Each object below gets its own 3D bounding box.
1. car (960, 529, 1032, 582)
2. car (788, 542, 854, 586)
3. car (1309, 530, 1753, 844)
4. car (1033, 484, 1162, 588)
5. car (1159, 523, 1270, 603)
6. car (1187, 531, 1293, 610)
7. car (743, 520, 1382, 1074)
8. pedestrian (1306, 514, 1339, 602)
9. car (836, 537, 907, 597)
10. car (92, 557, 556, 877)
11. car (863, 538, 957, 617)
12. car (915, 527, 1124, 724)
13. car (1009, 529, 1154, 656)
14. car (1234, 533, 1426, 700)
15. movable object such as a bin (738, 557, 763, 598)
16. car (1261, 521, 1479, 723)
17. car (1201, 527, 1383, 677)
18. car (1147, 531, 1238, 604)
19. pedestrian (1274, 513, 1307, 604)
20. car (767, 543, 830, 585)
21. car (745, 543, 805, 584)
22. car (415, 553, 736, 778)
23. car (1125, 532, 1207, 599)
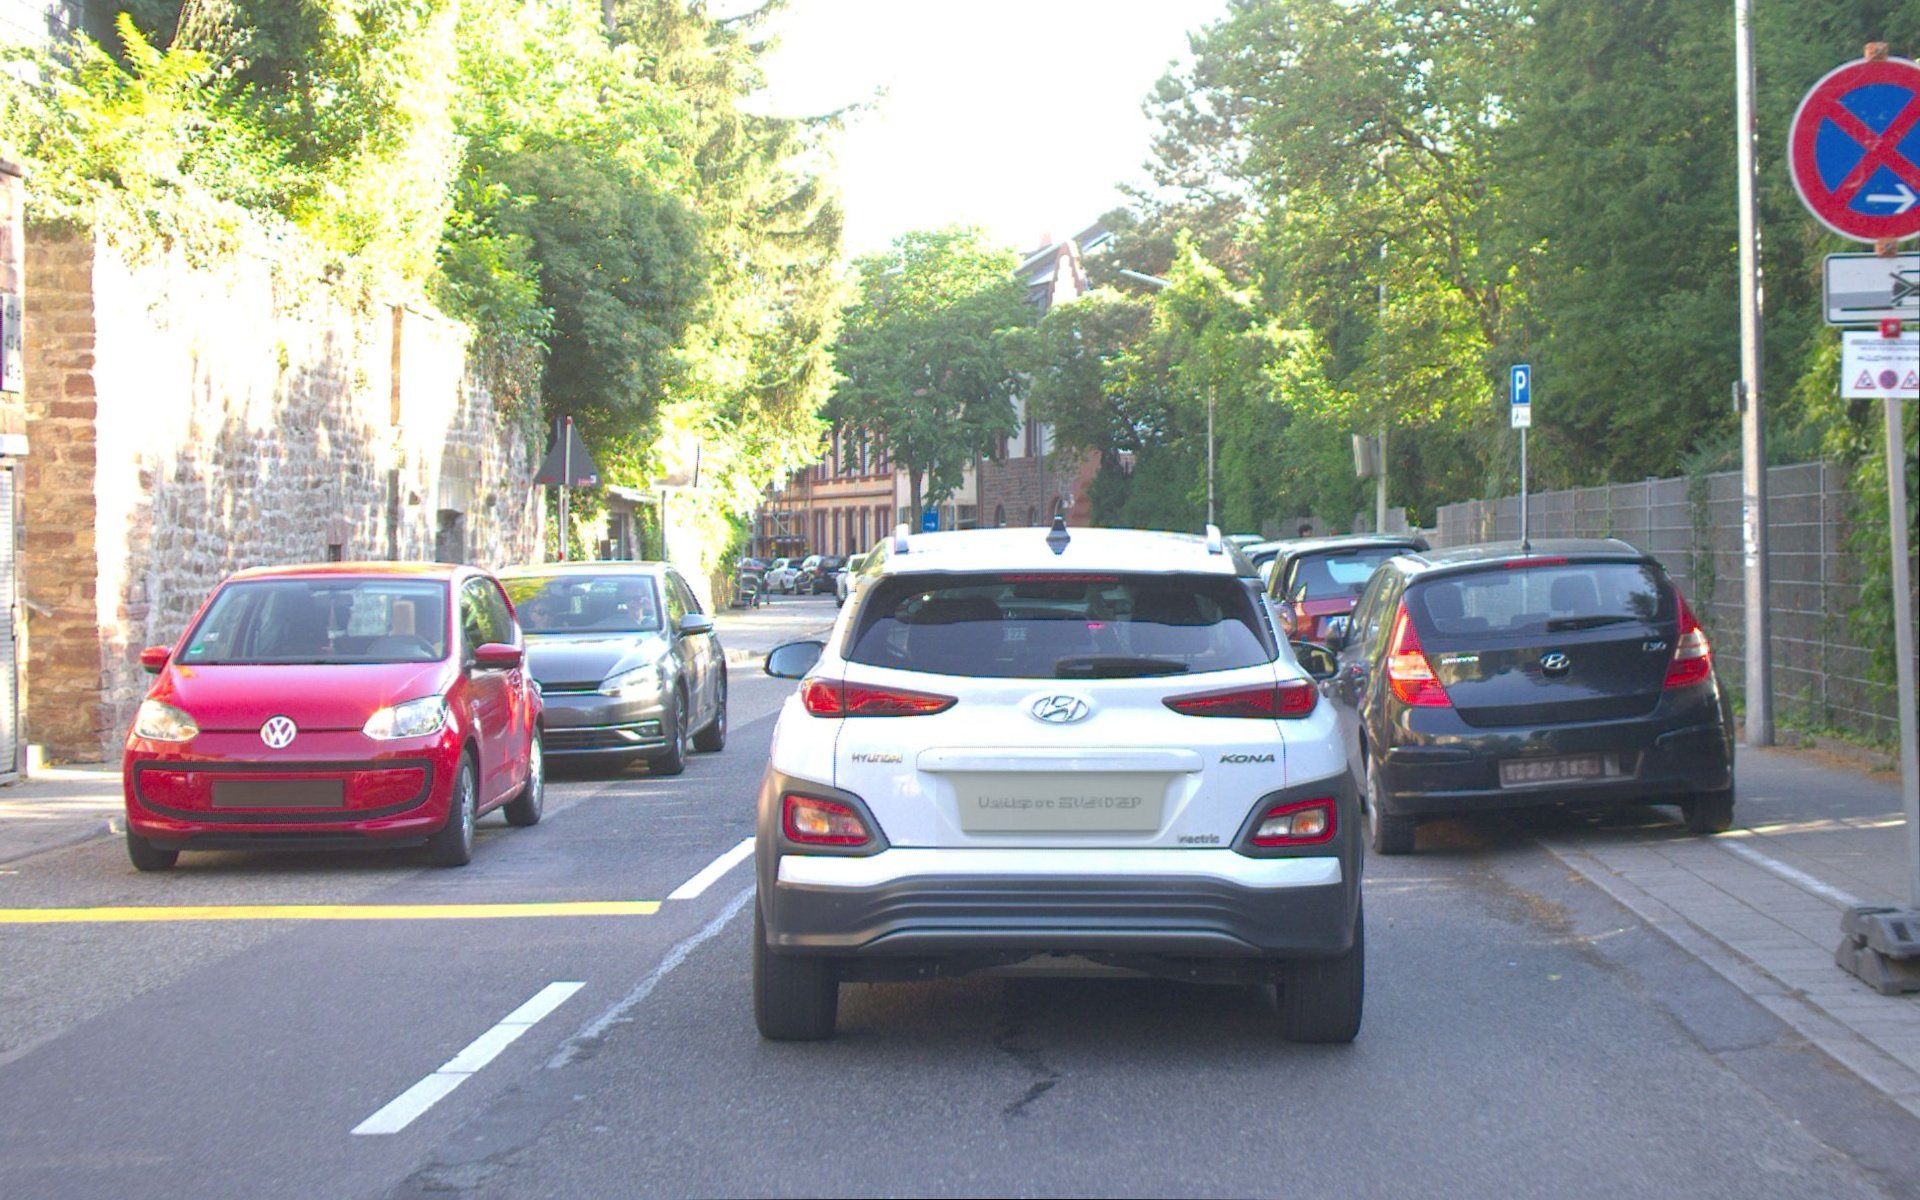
[{"bbox_3d":[0.942,-1.208,92.434,1.589,1.381,3.361,-1,1,-5],"label":"car"},{"bbox_3d":[-5.408,-1.406,133.502,1.755,1.611,4.002,0,2,-14],"label":"car"},{"bbox_3d":[2.856,0.367,17.971,1.794,1.436,4.000,-1,1,2],"label":"car"},{"bbox_3d":[2.318,-1.089,57.275,1.694,1.527,3.881,-4,2,8],"label":"car"},{"bbox_3d":[5.304,-0.775,72.146,1.593,1.560,4.001,-3,1,-6],"label":"car"},{"bbox_3d":[5.412,-0.591,66.857,1.686,1.426,4.000,-3,1,0],"label":"car"},{"bbox_3d":[0.273,0.517,11.554,1.772,1.537,4.000,0,1,0],"label":"car"},{"bbox_3d":[6.528,-0.759,61.901,0.503,1.564,0.503,-3,1,3],"label":"pedestrian"},{"bbox_3d":[-2.410,-0.872,92.834,1.741,1.469,4.000,-4,0,-3],"label":"car"},{"bbox_3d":[-3.116,0.513,17.491,1.627,1.417,3.563,-1,1,1],"label":"car"},{"bbox_3d":[-0.961,-0.457,67.803,1.550,1.461,3.568,-2,1,3],"label":"car"},{"bbox_3d":[0.556,0.167,29.051,1.512,1.528,3.547,-1,1,5],"label":"car"},{"bbox_3d":[1.524,-0.120,42.200,1.571,1.472,3.547,1,1,5],"label":"car"},{"bbox_3d":[3.596,0.105,33.958,1.711,1.492,4.813,1,1,5],"label":"car"},{"bbox_3d":[-5.185,-0.555,85.010,0.495,1.008,1.112,1,0,3],"label":"movable object such as a bin"},{"bbox_3d":[3.295,0.144,28.020,1.653,1.559,2.872,0,1,5],"label":"car"},{"bbox_3d":[3.642,-0.007,38.091,1.624,1.504,2.904,-3,2,-1],"label":"car"},{"bbox_3d":[5.190,-0.731,77.154,1.593,1.514,3.933,-3,1,-2],"label":"car"},{"bbox_3d":[5.951,-0.744,61.905,0.503,1.601,0.491,-3,1,3],"label":"pedestrian"},{"bbox_3d":[-6.513,-1.461,138.209,1.755,1.611,4.002,0,2,-14],"label":"car"},{"bbox_3d":[-7.742,-1.524,143.518,1.755,1.611,4.002,0,2,-14],"label":"car"},{"bbox_3d":[-2.601,0.396,24.078,1.649,1.406,3.931,-1,1,2],"label":"car"},{"bbox_3d":[4.940,-0.852,82.912,1.593,1.484,3.602,-3,1,-2],"label":"car"}]
